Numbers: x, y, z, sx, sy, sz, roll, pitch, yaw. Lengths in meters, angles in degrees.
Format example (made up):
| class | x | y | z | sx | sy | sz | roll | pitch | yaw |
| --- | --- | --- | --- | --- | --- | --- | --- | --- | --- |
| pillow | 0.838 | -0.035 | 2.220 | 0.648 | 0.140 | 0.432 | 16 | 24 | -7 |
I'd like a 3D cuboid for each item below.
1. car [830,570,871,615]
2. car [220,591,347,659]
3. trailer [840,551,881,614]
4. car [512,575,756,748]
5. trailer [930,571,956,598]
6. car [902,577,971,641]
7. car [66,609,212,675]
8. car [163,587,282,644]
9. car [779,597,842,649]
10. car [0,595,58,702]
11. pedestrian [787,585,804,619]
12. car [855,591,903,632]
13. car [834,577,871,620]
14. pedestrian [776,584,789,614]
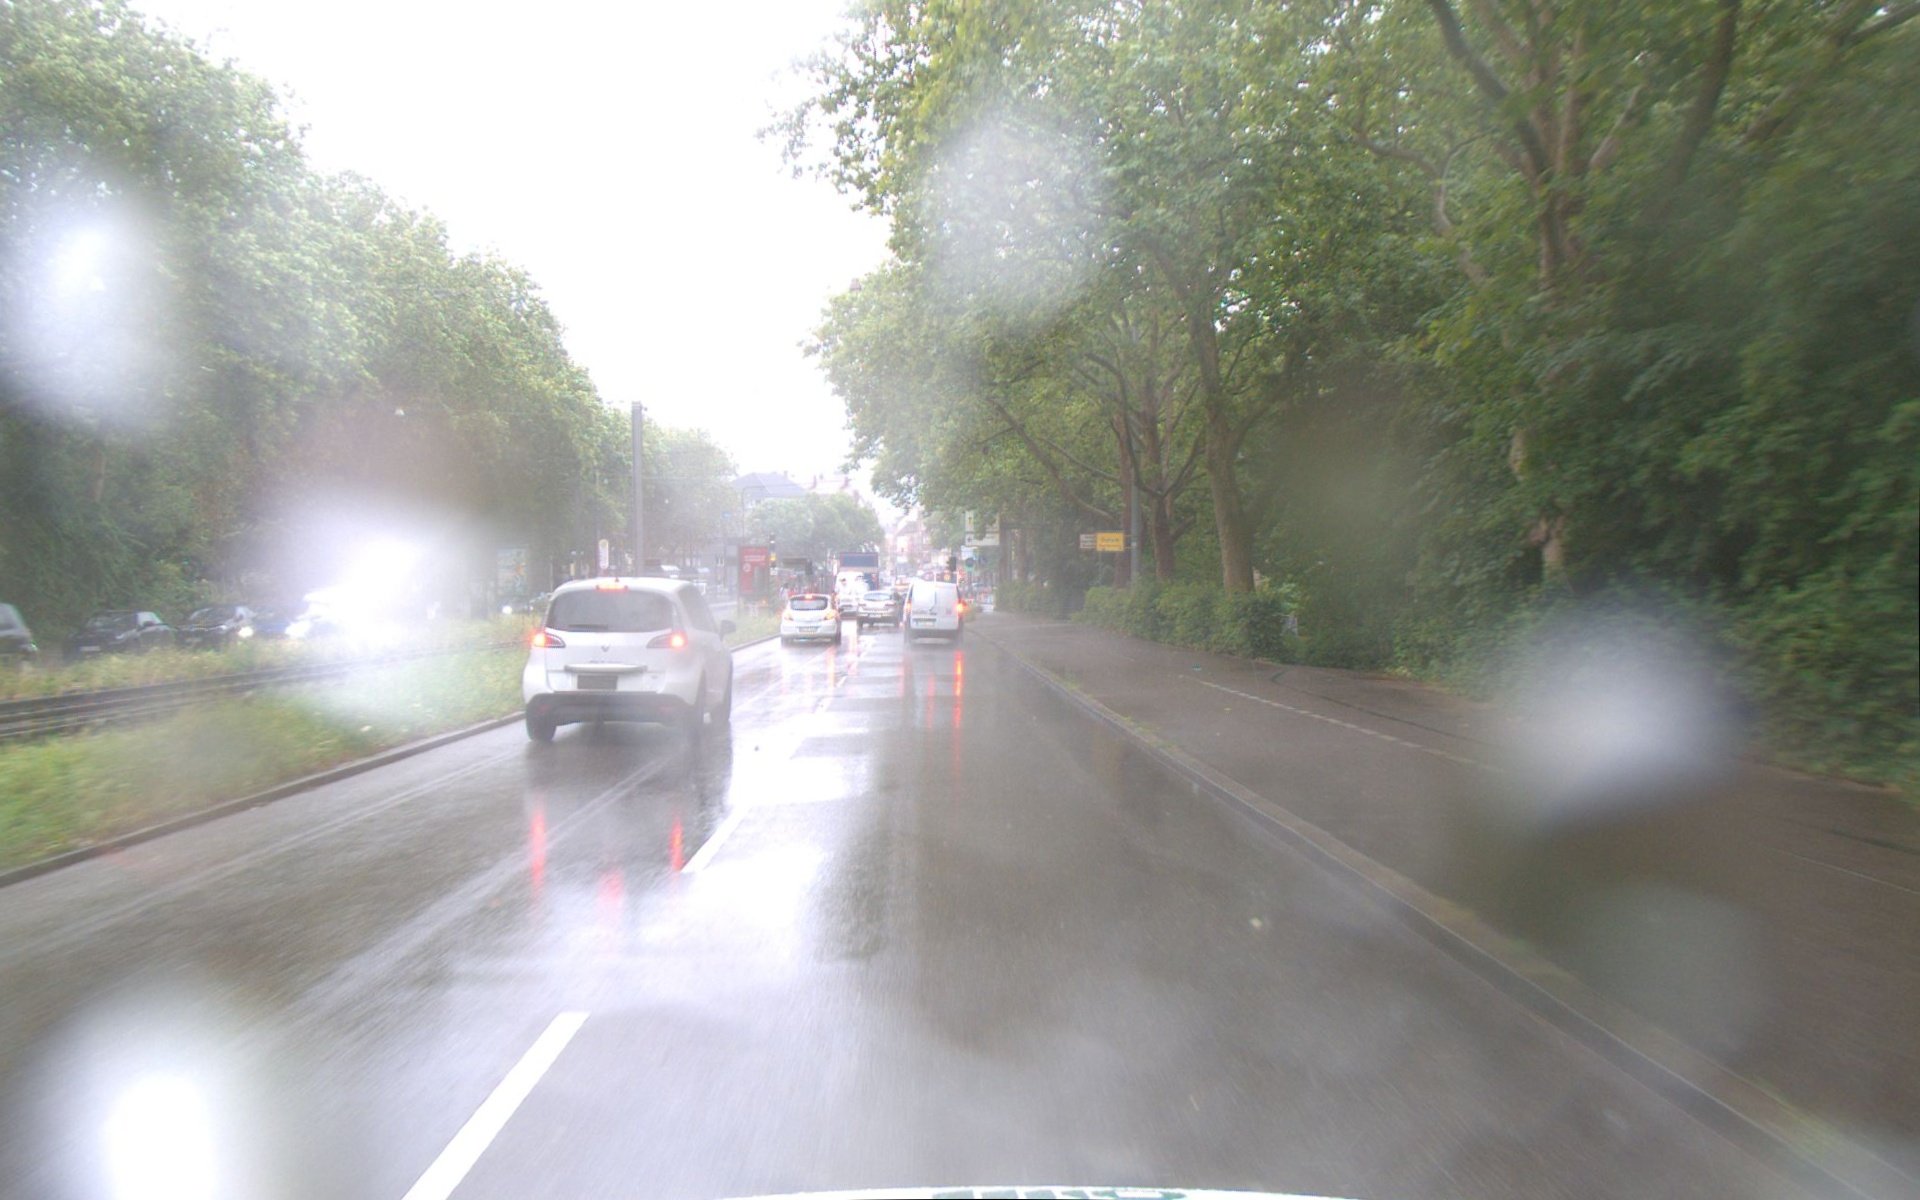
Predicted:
| class | x | y | z | sx | sy | sz | roll | pitch | yaw |
| --- | --- | --- | --- | --- | --- | --- | --- | --- | --- |
| car | -6.633 | -0.431 | 100.563 | 2.283 | 2.602 | 6.111 | 0 | -1 | -2 |
| car | -19.225 | 0.688 | 47.224 | 1.992 | 1.782 | 4.689 | -2 | 0 | -5 |
| trailer | -6.614 | -1.147 | 109.731 | 2.539 | 3.968 | 7.630 | 0 | 0 | -4 |
| car | -3.413 | 0.600 | 18.130 | 1.826 | 1.652 | 4.262 | 1 | 0 | 0 |
| trailer | -1.533 | -1.351 | 147.872 | 1.954 | 2.357 | 4.664 | 0 | -1 | -4 |
| car | -0.716 | 0.284 | 48.870 | 1.920 | 1.808 | 3.567 | 0 | -1 | -3 |
| car | -22.160 | 1.100 | 44.868 | 1.992 | 1.687 | 4.605 | 0 | -1 | -5 |
| car | -23.115 | 0.471 | 52.042 | 1.992 | 1.686 | 4.605 | 0 | 0 | -5 |
| car | -4.444 | 0.679 | 49.459 | 1.691 | 1.505 | 3.803 | 0 | -1 | -3 |
| car | -16.930 | 0.841 | 27.283 | 1.992 | 1.782 | 4.255 | -2 | 0 | -5 |
| pedestrian | -8.480 | 0.109 | 85.453 | 0.774 | 1.744 | 0.770 | 2 | -1 | -3 |
| car | -3.321 | 0.493 | 68.410 | 1.869 | 1.646 | 3.999 | 0 | -1 | -1 |
| car | -5.962 | -0.056 | 92.142 | 1.953 | 2.302 | 5.286 | 0 | -1 | -2 |
| pedestrian | -10.488 | -0.037 | 97.733 | 0.701 | 1.775 | 0.750 | 0 | 0 | -3 |
